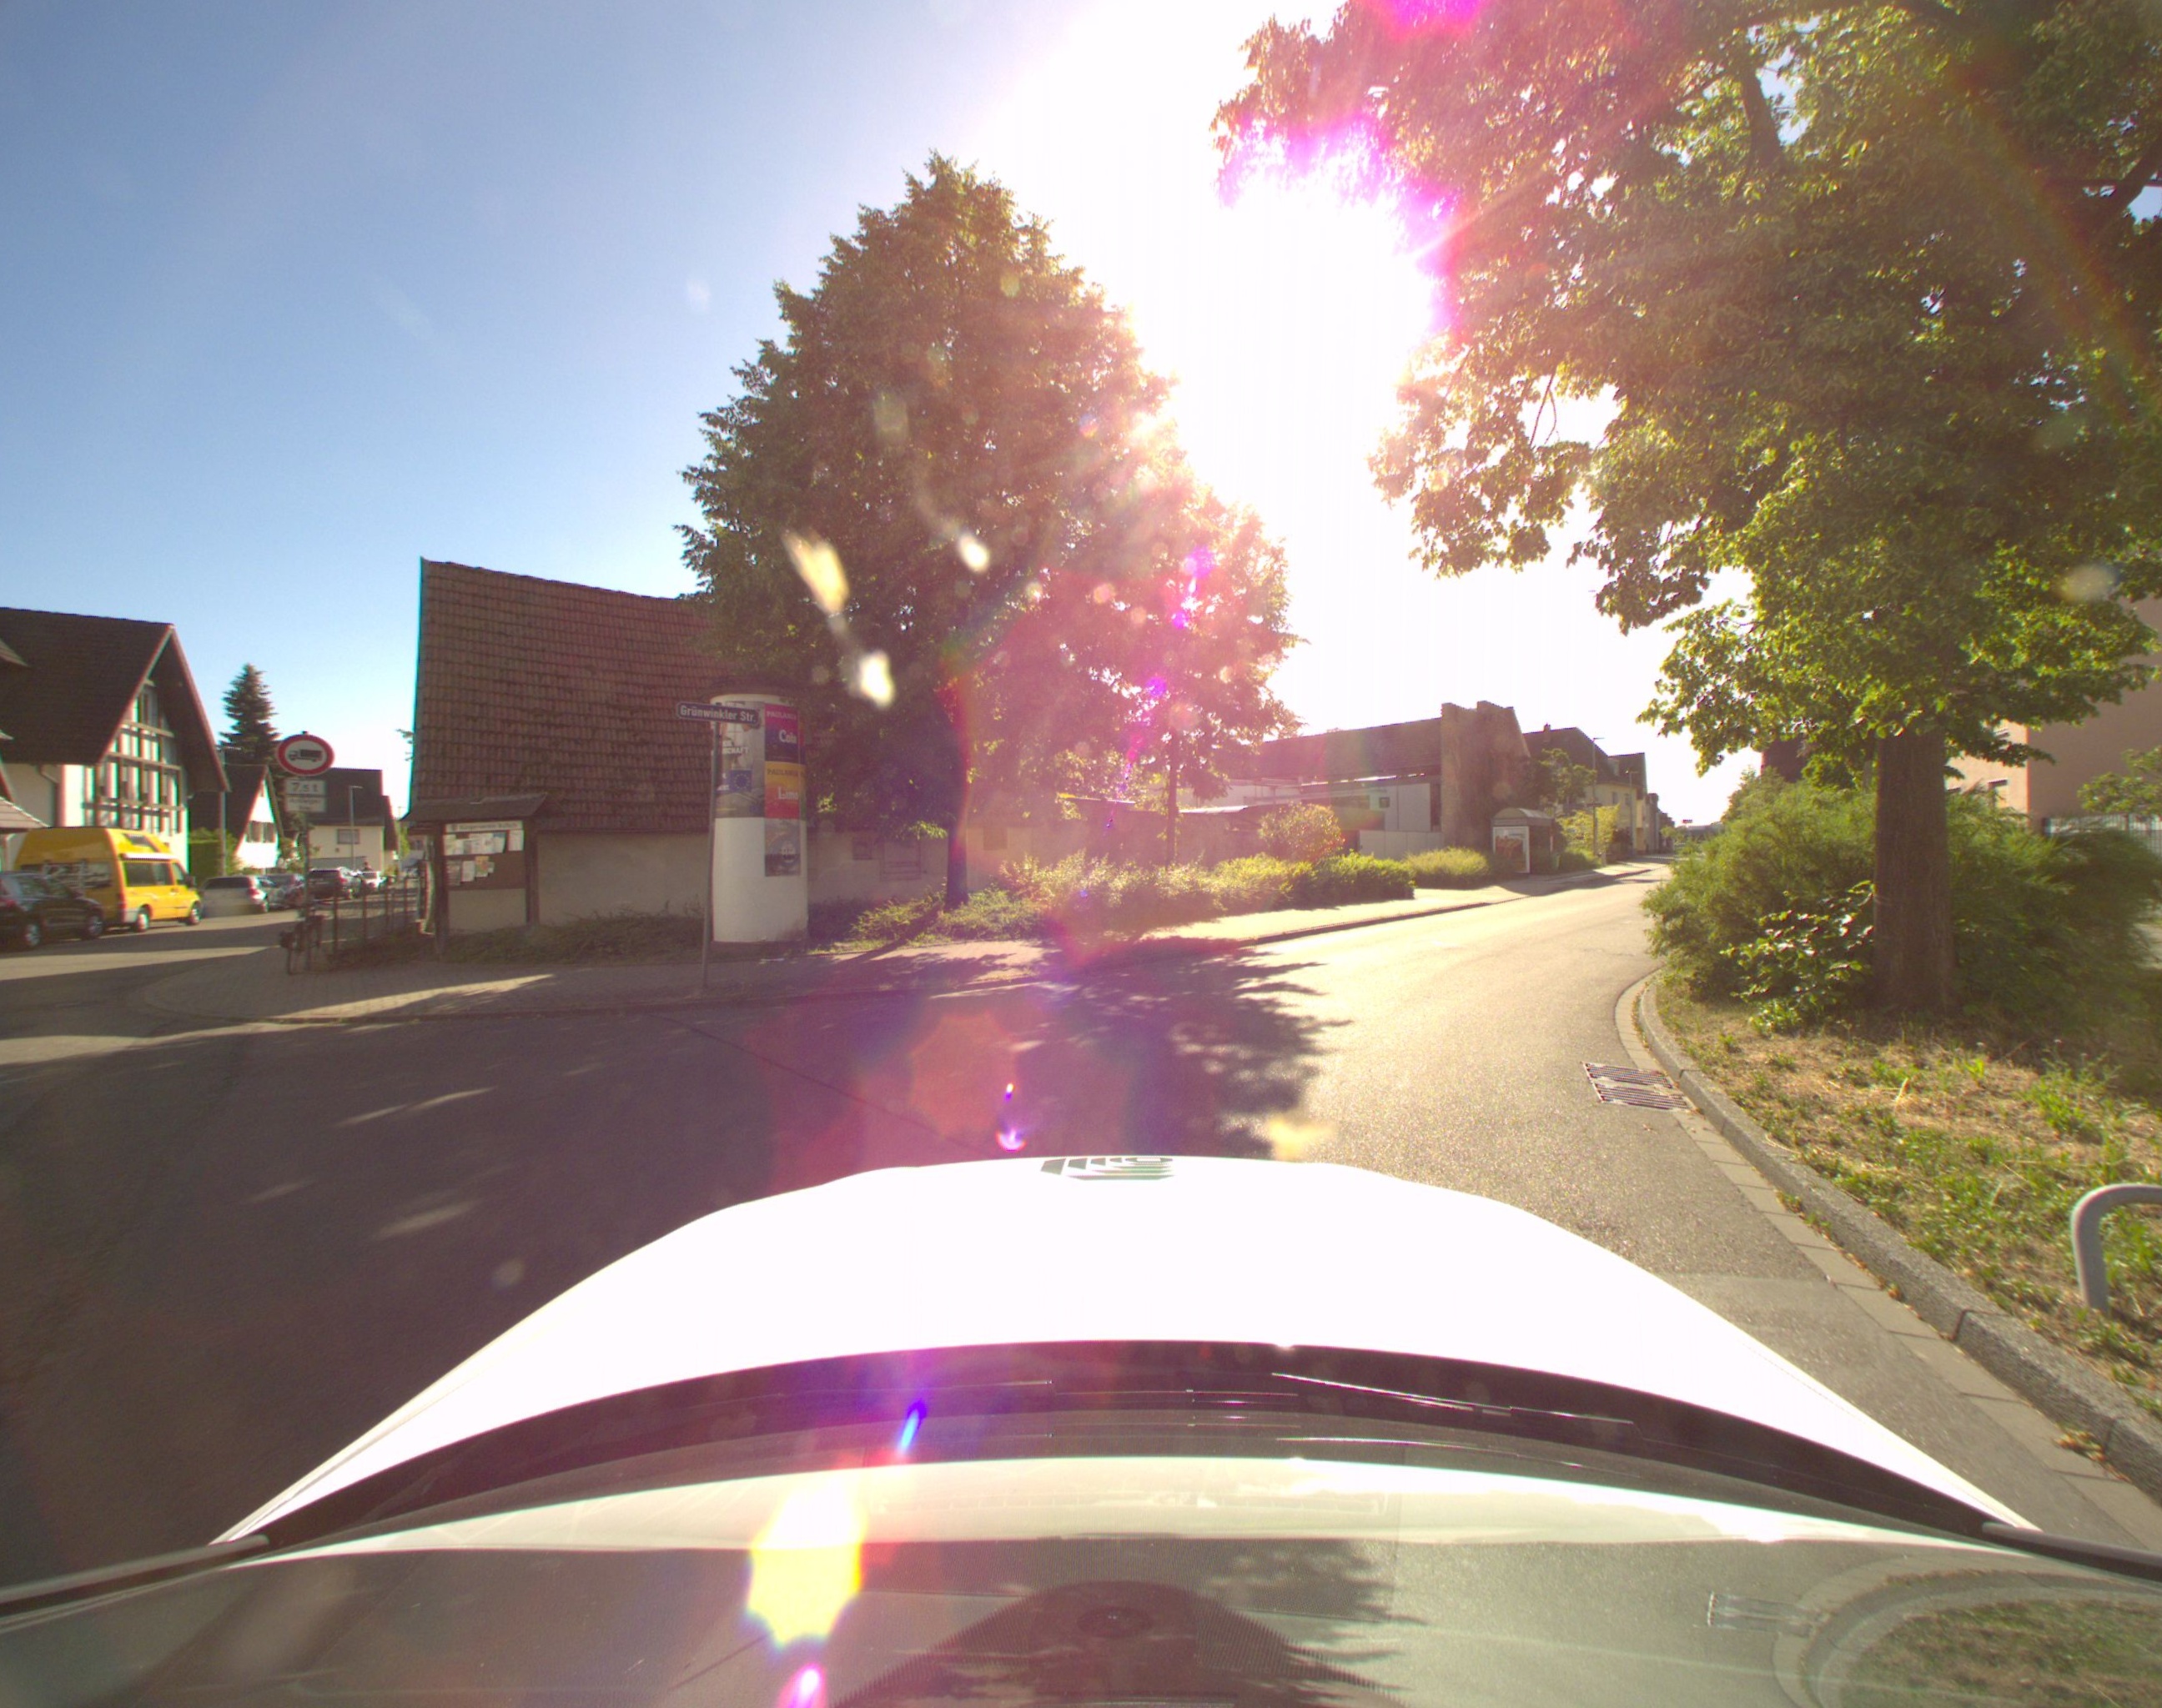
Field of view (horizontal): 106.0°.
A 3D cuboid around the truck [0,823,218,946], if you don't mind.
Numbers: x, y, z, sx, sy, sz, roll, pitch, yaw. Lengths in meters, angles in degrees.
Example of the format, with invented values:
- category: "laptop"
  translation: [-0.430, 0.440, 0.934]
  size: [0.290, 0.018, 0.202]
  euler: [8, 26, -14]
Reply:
- category: "truck"
  translation: [-25.914, 0.758, 22.026]
  size: [2.284, 2.868, 5.721]
  euler: [-1, -1, -34]

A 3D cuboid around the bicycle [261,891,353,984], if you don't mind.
- category: "bicycle"
  translation: [-11.230, 1.169, 11.869]
  size: [0.435, 1.176, 1.813]
  euler: [-1, 0, -26]

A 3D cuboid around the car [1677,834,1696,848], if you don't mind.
- category: "car"
  translation: [65.673, -1.435, 88.319]
  size: [1.599, 1.474, 4.026]
  euler: [1, 1, 37]

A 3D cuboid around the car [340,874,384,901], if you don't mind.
- category: "car"
  translation: [-41.368, 1.880, 46.931]
  size: [1.600, 1.443, 3.574]
  euler: [-1, -1, -37]

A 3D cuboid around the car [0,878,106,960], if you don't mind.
- category: "car"
  translation: [-22.981, 1.348, 17.339]
  size: [1.819, 1.622, 3.839]
  euler: [-1, -1, -34]

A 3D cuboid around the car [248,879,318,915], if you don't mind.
- category: "car"
  translation: [-32.875, 1.738, 33.642]
  size: [1.600, 1.336, 3.574]
  euler: [-1, -1, -37]

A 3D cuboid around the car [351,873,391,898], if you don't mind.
- category: "car"
  translation: [-44.107, 1.936, 50.624]
  size: [1.600, 1.443, 3.574]
  euler: [-1, -1, -37]

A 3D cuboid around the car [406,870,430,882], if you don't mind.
- category: "car"
  translation: [-92.838, 3.118, 114.011]
  size: [3.944, 1.583, 1.992]
  euler: [-2, -1, 42]

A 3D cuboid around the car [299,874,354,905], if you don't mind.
- category: "car"
  translation: [-37.742, 1.759, 40.806]
  size: [1.600, 1.443, 3.574]
  euler: [-1, -1, -37]

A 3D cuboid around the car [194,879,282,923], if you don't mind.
- category: "car"
  translation: [-30.579, 1.646, 29.650]
  size: [1.658, 1.433, 3.574]
  euler: [-1, -1, -37]
